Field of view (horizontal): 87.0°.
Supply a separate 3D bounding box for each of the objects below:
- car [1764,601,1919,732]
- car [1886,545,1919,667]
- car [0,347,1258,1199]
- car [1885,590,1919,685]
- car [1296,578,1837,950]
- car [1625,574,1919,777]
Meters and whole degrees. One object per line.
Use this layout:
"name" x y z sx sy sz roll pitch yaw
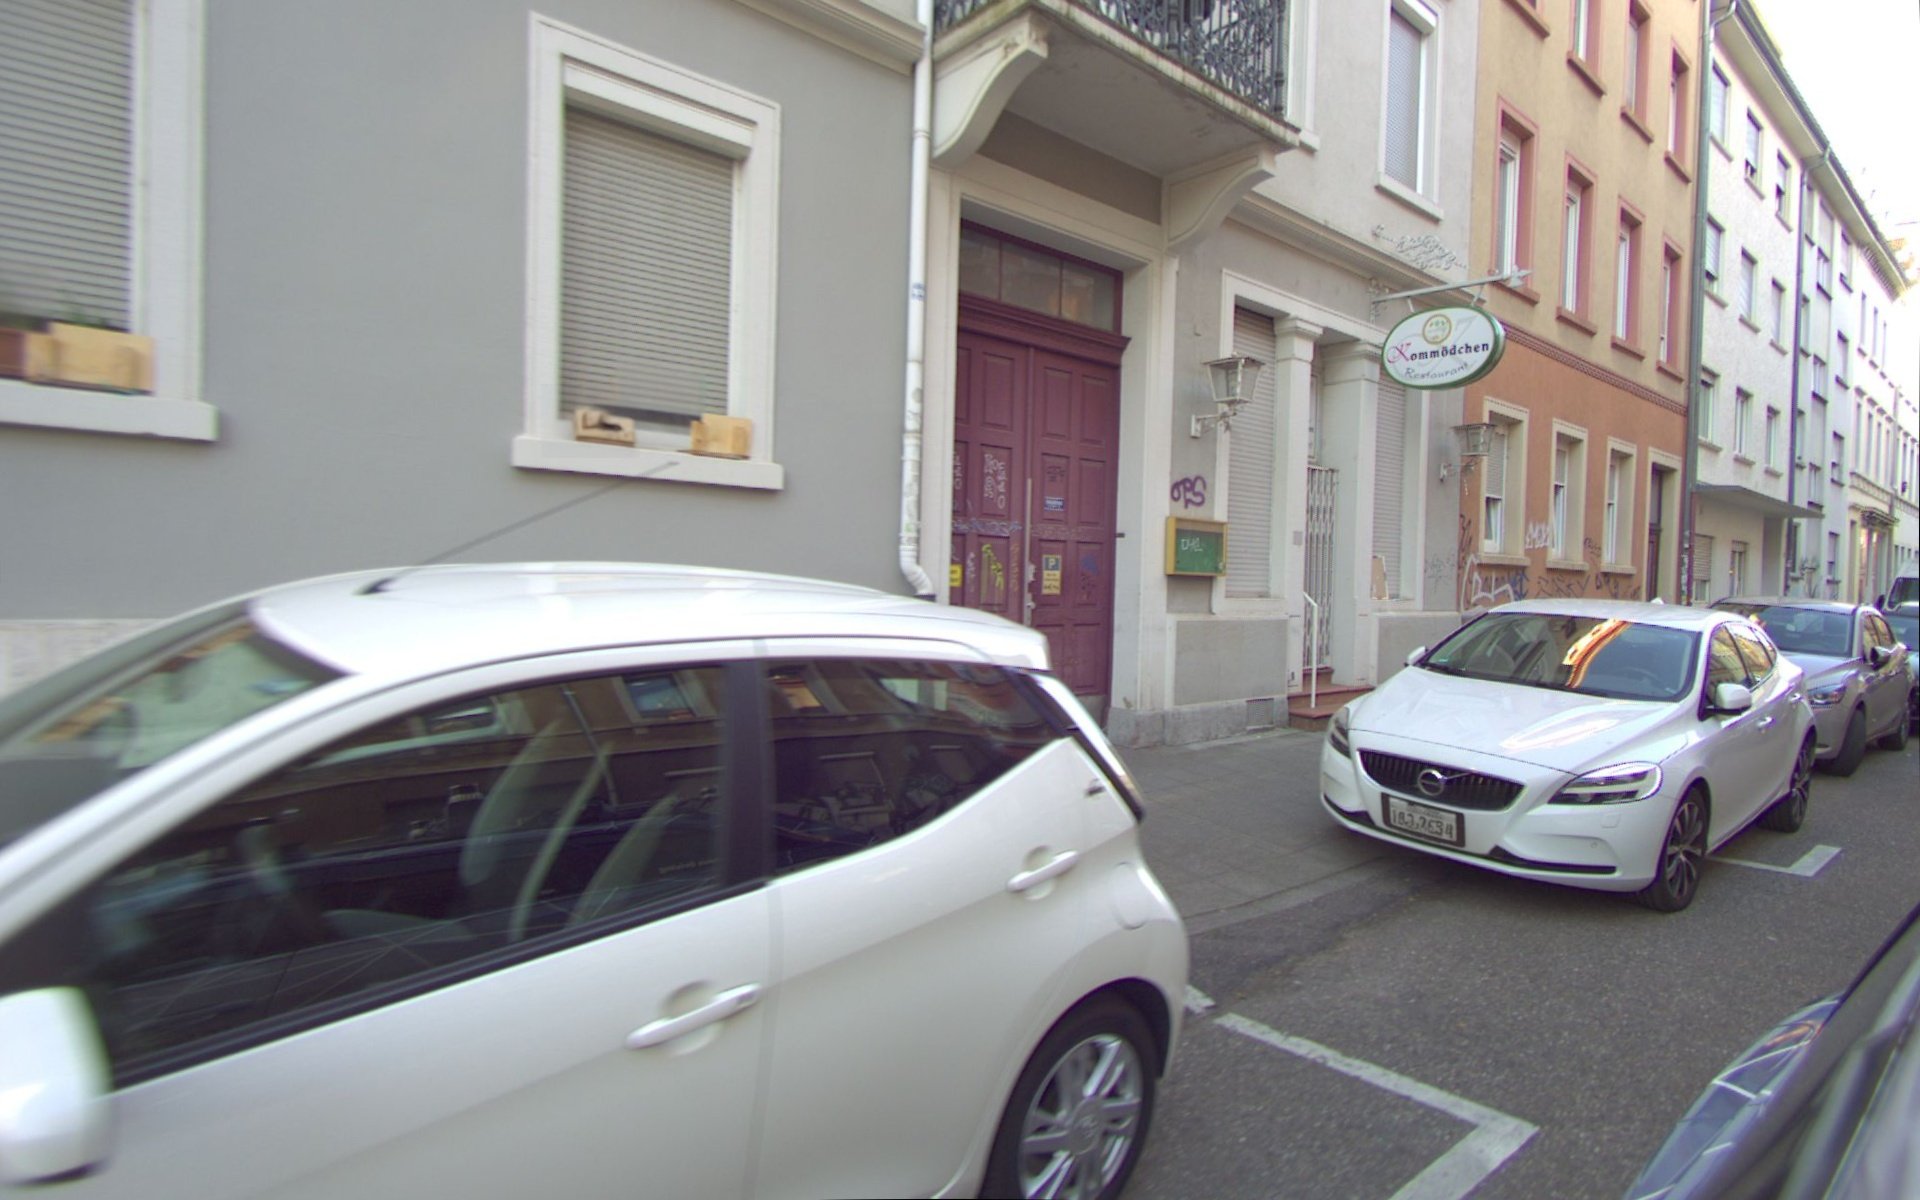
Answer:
"car" 11.820 0.724 12.878 4.417 1.412 1.770 0 0 -42
"car" 22.593 0.124 22.533 5.914 2.544 2.050 0 0 -39
"car" -1.139 0.538 2.000 3.724 1.607 1.638 0 0 -42
"car" 17.714 0.631 17.944 3.795 1.578 1.680 0 0 -44
"car" 3.889 0.664 6.162 4.117 1.529 1.682 0 0 -42
"car" 8.299 0.594 10.025 4.114 1.617 1.683 0 0 -39
